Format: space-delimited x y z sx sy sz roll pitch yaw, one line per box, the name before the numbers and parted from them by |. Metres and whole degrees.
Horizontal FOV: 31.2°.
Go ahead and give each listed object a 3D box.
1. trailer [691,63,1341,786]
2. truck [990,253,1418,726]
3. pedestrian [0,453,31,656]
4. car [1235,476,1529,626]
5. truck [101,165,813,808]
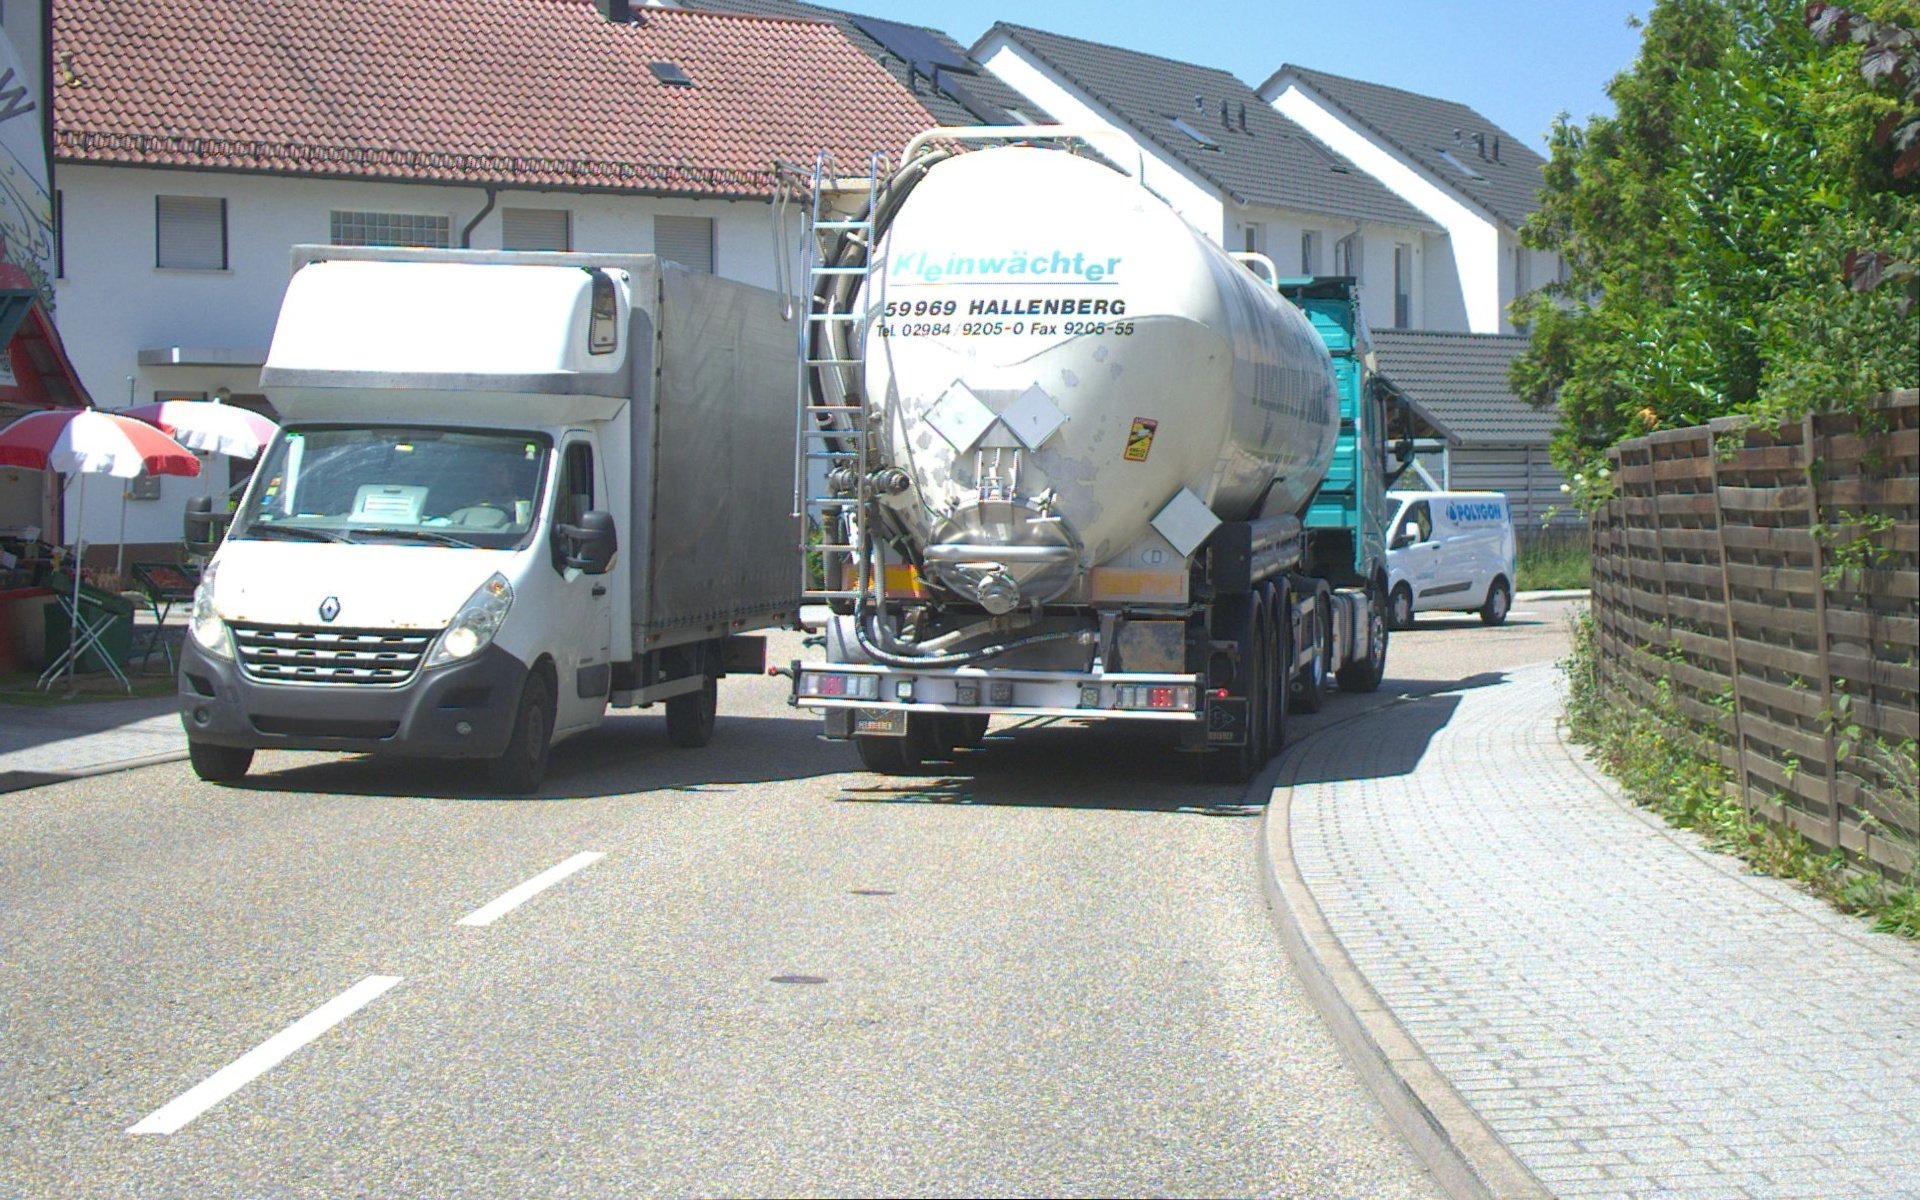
trailer | 0.925 -1.129 24.685 2.954 3.934 11.615 0 2 9
truck | 2.476 -1.039 32.746 2.989 3.951 5.576 -3 1 13
pedestrian | -7.765 -0.355 26.789 0.612 1.582 0.807 1 1 34
car | 6.186 -0.762 49.857 1.998 1.992 5.204 3 4 34
truck | -2.892 -0.731 22.290 2.467 3.355 7.615 3 2 7
